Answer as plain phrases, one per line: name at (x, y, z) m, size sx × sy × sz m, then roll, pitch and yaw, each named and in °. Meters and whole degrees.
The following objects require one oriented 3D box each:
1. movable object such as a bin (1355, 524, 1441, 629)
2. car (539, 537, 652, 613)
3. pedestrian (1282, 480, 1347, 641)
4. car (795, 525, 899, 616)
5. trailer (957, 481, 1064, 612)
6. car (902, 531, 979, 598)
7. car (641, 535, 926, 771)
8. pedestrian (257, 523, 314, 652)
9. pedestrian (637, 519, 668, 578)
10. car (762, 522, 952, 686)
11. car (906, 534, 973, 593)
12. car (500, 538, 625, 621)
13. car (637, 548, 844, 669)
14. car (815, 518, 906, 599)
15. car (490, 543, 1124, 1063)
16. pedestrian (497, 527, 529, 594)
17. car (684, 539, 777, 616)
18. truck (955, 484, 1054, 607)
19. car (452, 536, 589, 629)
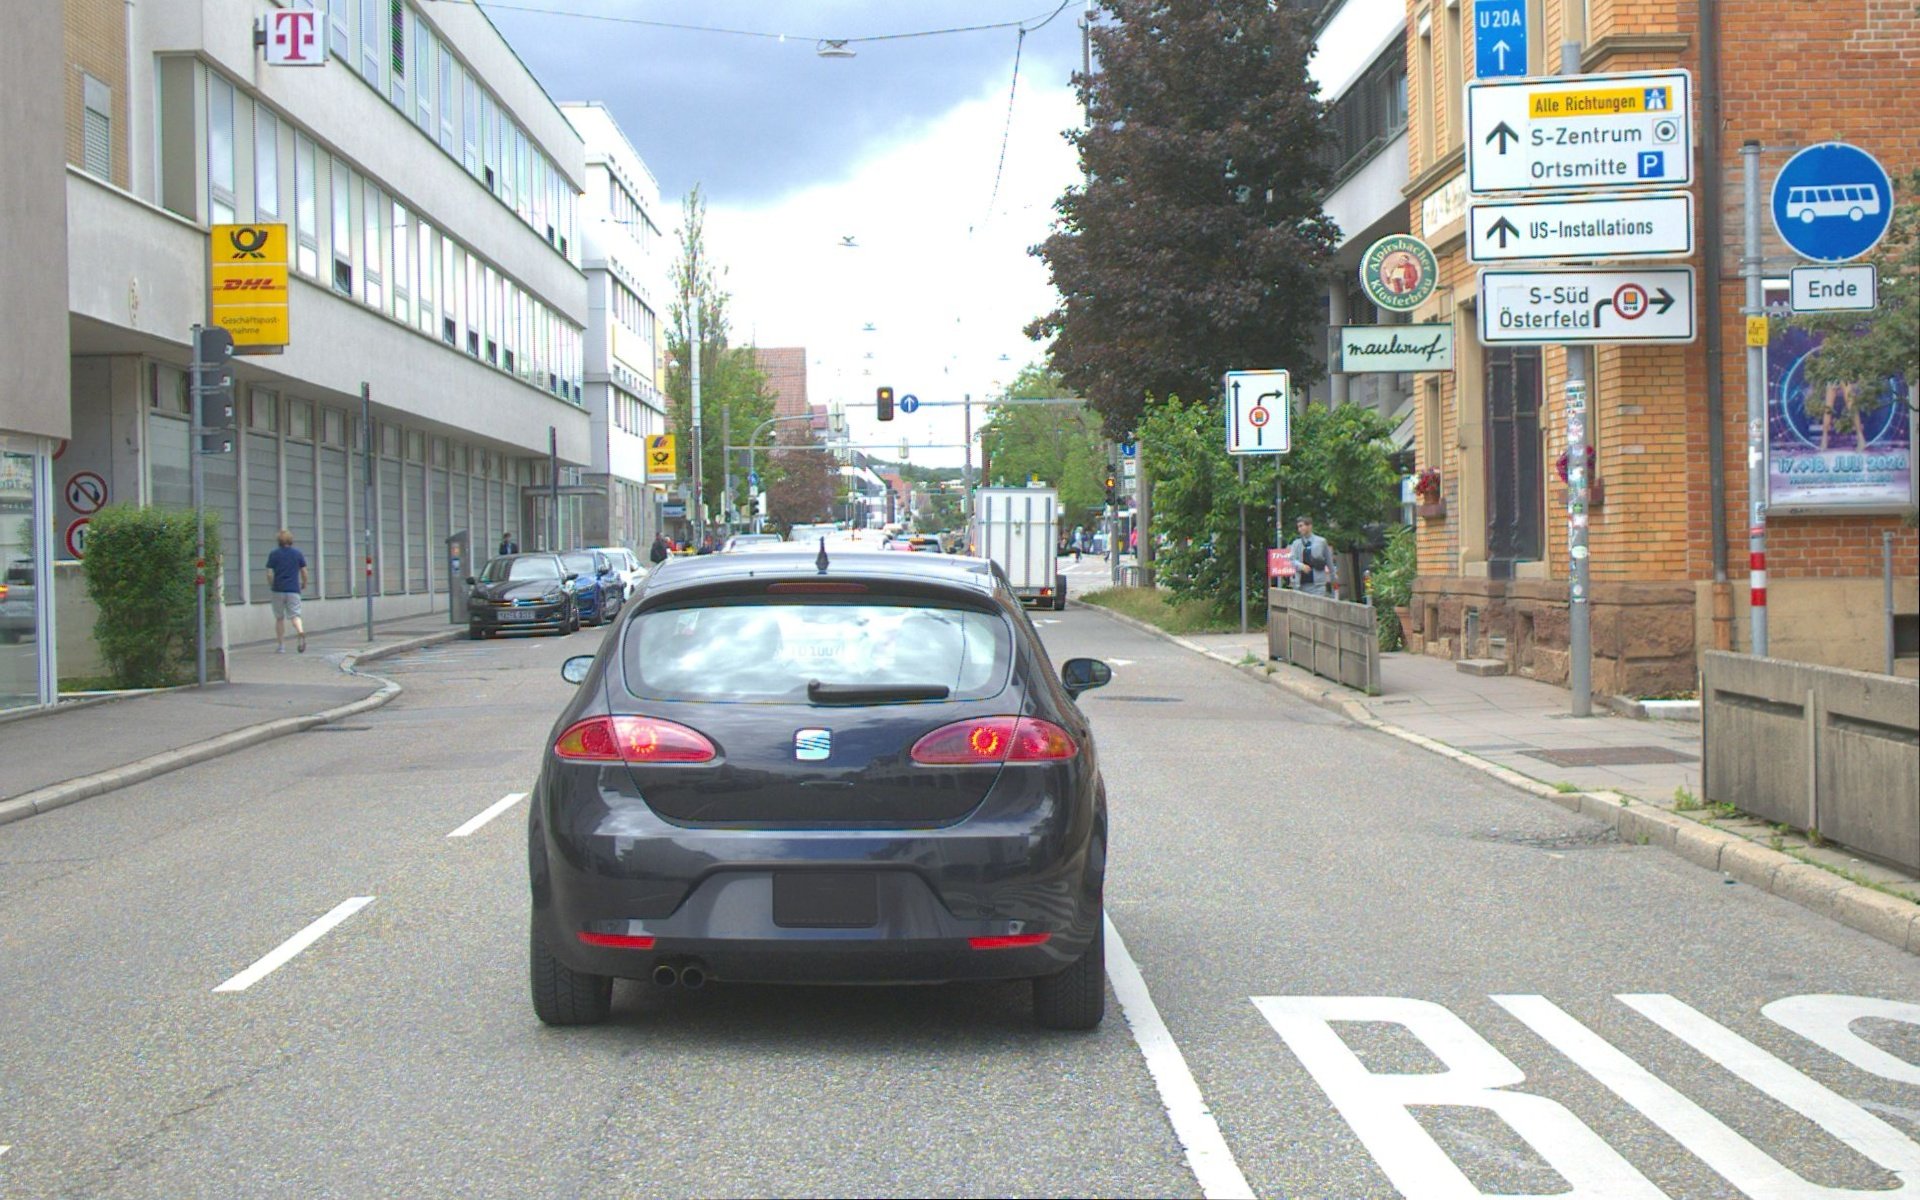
movable object such as a bin at (6.367, -0.350, 50.062) m, size 0.943 × 1.465 × 1.446 m, roll -2°, pitch 1°, yaw -3°
car at (-7.543, -0.534, 71.521) m, size 1.993 × 1.511 × 4.175 m, roll -1°, pitch 1°, yaw -1°
pedestrian at (4.495, -0.507, 43.626) m, size 0.693 × 2.007 × 0.677 m, roll -1°, pitch 1°, yaw -2°
car at (-2.038, -0.560, 62.492) m, size 1.803 × 1.596 × 3.738 m, roll 1°, pitch 1°, yaw -1°
trailer at (1.018, -1.124, 71.700) m, size 1.993 × 2.598 × 5.350 m, roll -1°, pitch 1°, yaw -1°
car at (-0.495, -0.891, 84.523) m, size 1.803 × 1.596 × 3.738 m, roll 1°, pitch 1°, yaw -1°
car at (-1.170, 0.303, 23.838) m, size 1.803 × 1.487 × 3.738 m, roll -1°, pitch 1°, yaw -1°
pedestrian at (-9.348, -0.181, 47.684) m, size 0.642 × 1.763 × 0.810 m, roll -1°, pitch 1°, yaw -2°
pedestrian at (-9.787, -1.628, 109.365) m, size 0.918 × 1.862 × 0.783 m, roll -1°, pitch 1°, yaw -1°
car at (-1.030, 0.004, 34.777) m, size 1.803 × 1.547 × 3.738 m, roll -1°, pitch 1°, yaw -1°
car at (-0.601, -1.048, 96.912) m, size 1.803 × 1.596 × 3.738 m, roll 1°, pitch 1°, yaw -1°
car at (-7.597, -0.414, 66.030) m, size 1.993 × 1.511 × 4.175 m, roll -1°, pitch 1°, yaw -1°
car at (-2.723, 0.059, 41.758) m, size 1.779 × 1.361 × 4.414 m, roll -1°, pitch 1°, yaw -13°
car at (-2.031, -0.859, 70.442) m, size 1.803 × 1.596 × 3.738 m, roll 1°, pitch 1°, yaw -1°
car at (-0.451, 0.537, 11.540) m, size 1.765 × 1.428 × 3.829 m, roll 0°, pitch 1°, yaw -1°
pedestrian at (-10.974, -0.973, 84.420) m, size 0.656 × 1.617 × 0.681 m, roll -1°, pitch 1°, yaw 0°
car at (-5.496, -0.566, 82.717) m, size 1.993 × 1.733 × 4.554 m, roll -2°, pitch 1°, yaw -1°
truck at (0.949, -1.185, 74.467) m, size 1.993 × 2.598 × 3.260 m, roll -1°, pitch 1°, yaw -1°
car at (-7.655, -0.331, 60.242) m, size 1.912 × 1.511 × 4.175 m, roll -2°, pitch 1°, yaw -1°
